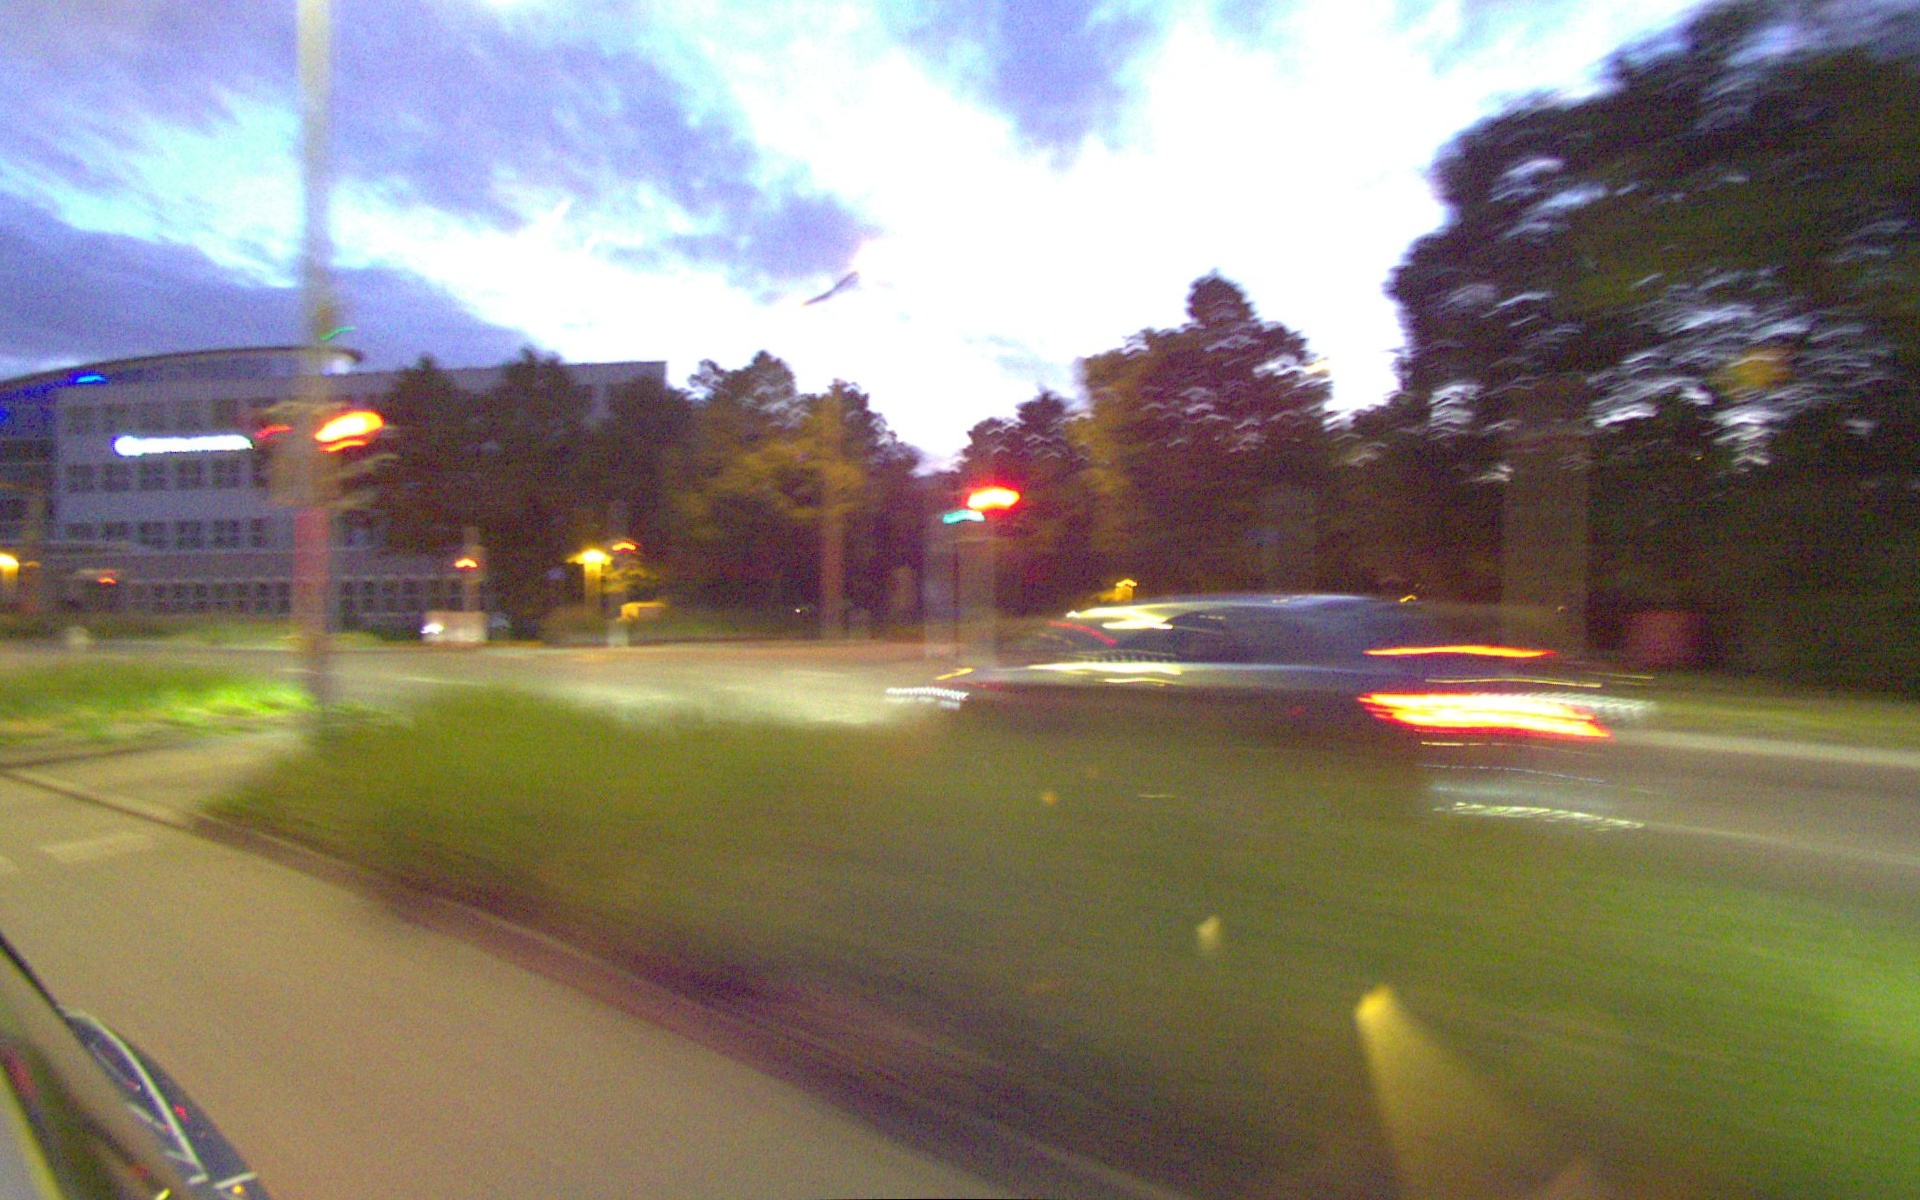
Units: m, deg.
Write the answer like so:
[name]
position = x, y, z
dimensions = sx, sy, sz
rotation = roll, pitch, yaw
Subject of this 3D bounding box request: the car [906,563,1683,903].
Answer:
[car]
position = 1.772, 0.585, 6.594
dimensions = 1.738, 1.456, 4.532
rotation = -1, 0, -43
